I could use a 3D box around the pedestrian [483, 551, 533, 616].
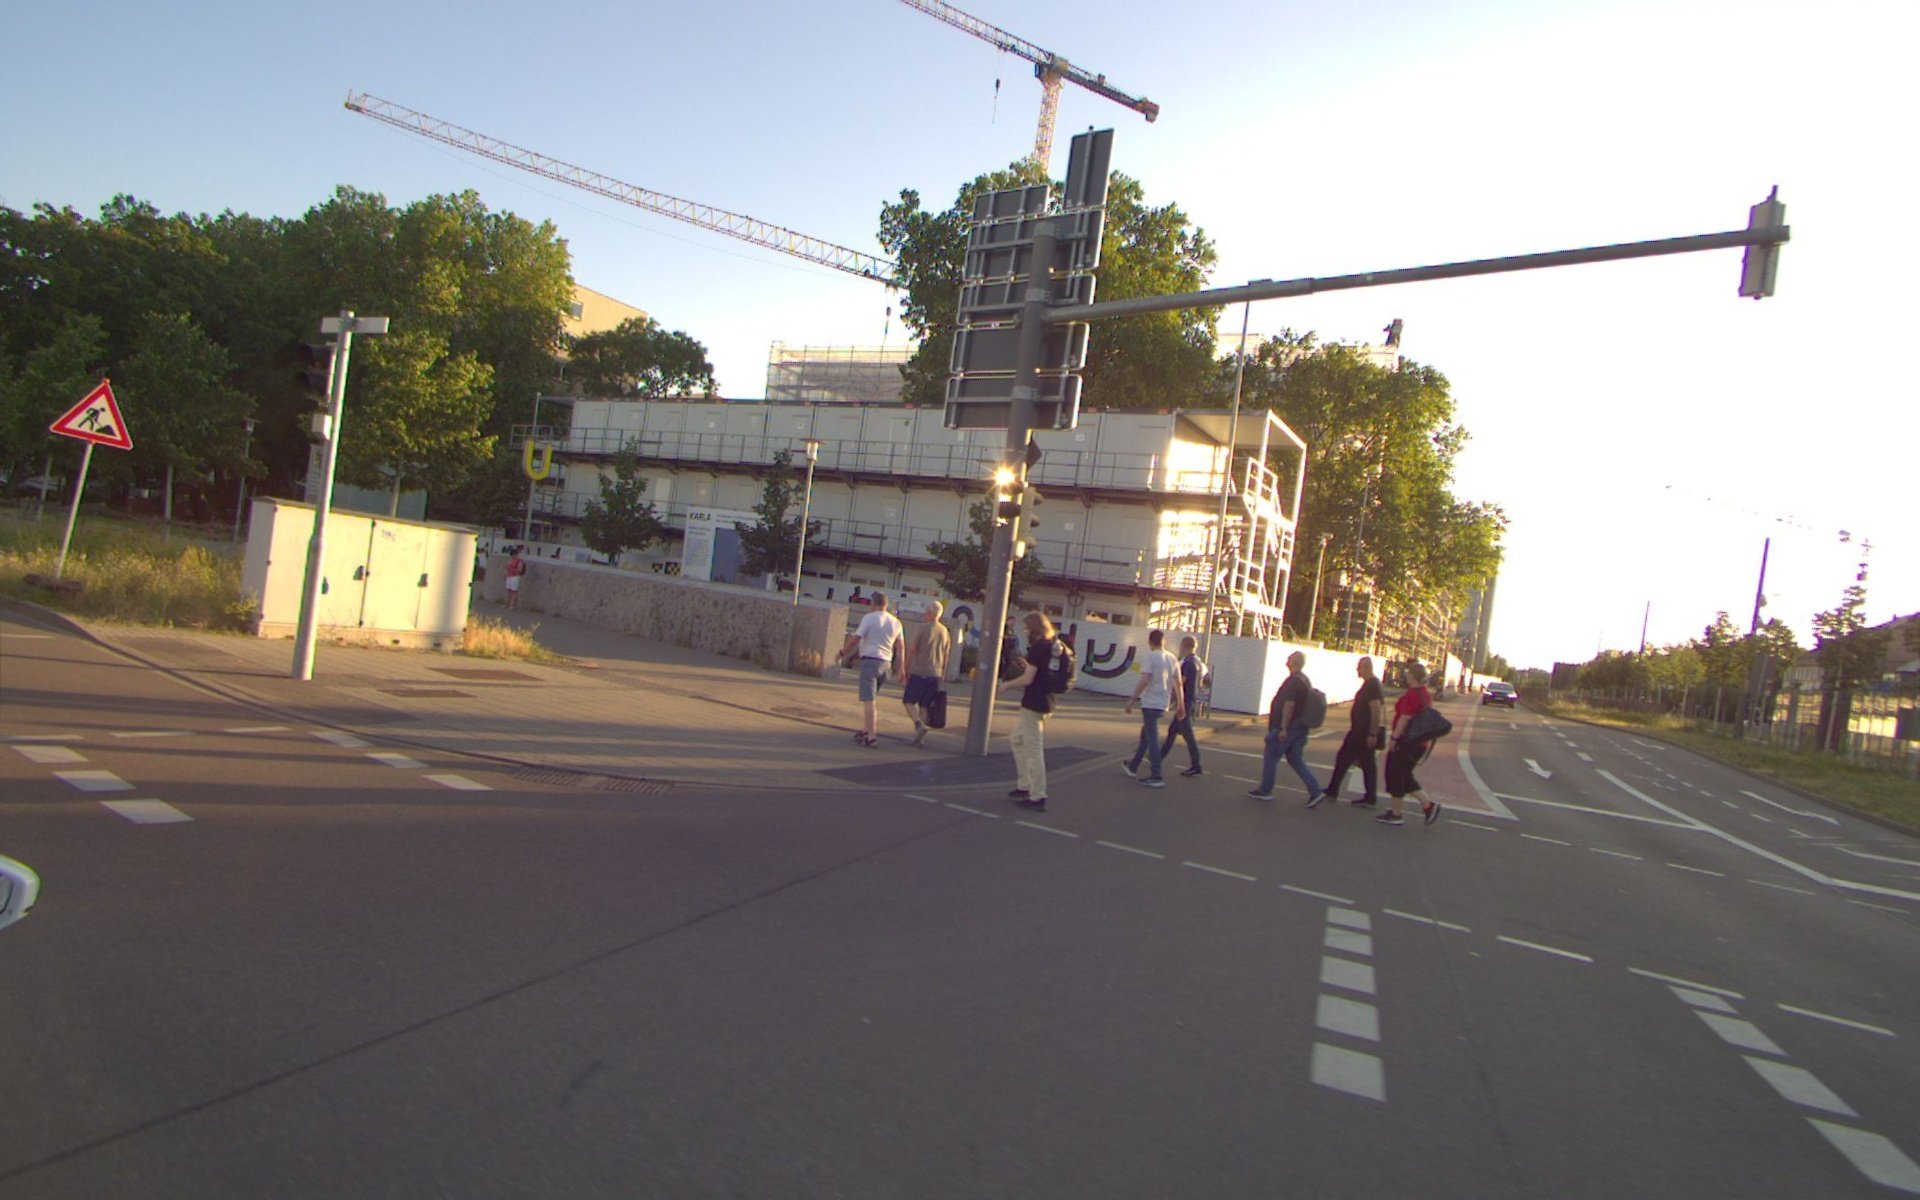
[{"bbox_3d":[-11.439,-0.420,25.482,0.633,1.509,0.761,10,2,31],"label":"pedestrian"}]

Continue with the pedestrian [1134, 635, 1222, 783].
[{"bbox_3d":[2.785,1.368,12.833,0.749,1.734,0.644,9,1,25],"label":"pedestrian"}]

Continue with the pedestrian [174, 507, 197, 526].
[{"bbox_3d":[-60.110,-6.485,78.072,0.714,1.276,1.132,8,0,35],"label":"pedestrian"}]

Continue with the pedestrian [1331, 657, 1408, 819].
[{"bbox_3d":[4.809,1.587,11.803,0.567,1.769,0.642,6,3,34],"label":"pedestrian"}]

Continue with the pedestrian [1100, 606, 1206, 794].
[{"bbox_3d":[2.208,1.130,11.515,0.750,1.993,0.642,8,1,35],"label":"pedestrian"}]

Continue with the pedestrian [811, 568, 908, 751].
[{"bbox_3d":[-1.135,0.674,11.393,0.609,1.957,0.642,7,1,35],"label":"pedestrian"}]

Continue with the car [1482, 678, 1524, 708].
[{"bbox_3d":[34.693,5.913,64.355,1.964,1.548,3.998,8,0,25],"label":"car"}]

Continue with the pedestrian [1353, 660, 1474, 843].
[{"bbox_3d":[4.809,1.577,10.669,0.857,1.734,0.643,9,1,35],"label":"pedestrian"}]

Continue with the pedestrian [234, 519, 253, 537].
[{"bbox_3d":[-51.700,-5.211,72.599,0.753,1.178,0.788,7,0,27],"label":"pedestrian"}]

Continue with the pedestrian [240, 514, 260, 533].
[{"bbox_3d":[-50.909,-5.490,72.137,0.753,1.178,0.788,7,0,27],"label":"pedestrian"}]

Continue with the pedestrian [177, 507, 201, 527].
[{"bbox_3d":[-59.385,-6.382,77.482,0.891,1.276,1.132,8,0,35],"label":"pedestrian"}]

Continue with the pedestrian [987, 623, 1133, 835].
[{"bbox_3d":[0.877,1.095,8.782,0.856,1.648,0.643,9,1,31],"label":"pedestrian"}]

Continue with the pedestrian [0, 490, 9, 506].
[{"bbox_3d":[-57.278,-6.102,59.847,0.611,0.895,0.681,8,0,11],"label":"pedestrian"}]

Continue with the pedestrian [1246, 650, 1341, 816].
[{"bbox_3d":[3.749,1.469,11.299,0.750,1.733,0.642,4,-1,35],"label":"pedestrian"}]

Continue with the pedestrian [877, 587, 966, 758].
[{"bbox_3d":[-0.469,0.866,12.132,0.638,1.957,0.614,6,1,-32],"label":"pedestrian"}]

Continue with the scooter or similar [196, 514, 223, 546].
[{"bbox_3d":[-31.850,-2.966,42.691,1.376,1.237,0.423,8,3,33],"label":"scooter or similar"}]

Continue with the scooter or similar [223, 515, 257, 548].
[{"bbox_3d":[-31.289,-2.974,43.718,1.546,1.237,0.473,7,3,26],"label":"scooter or similar"}]
